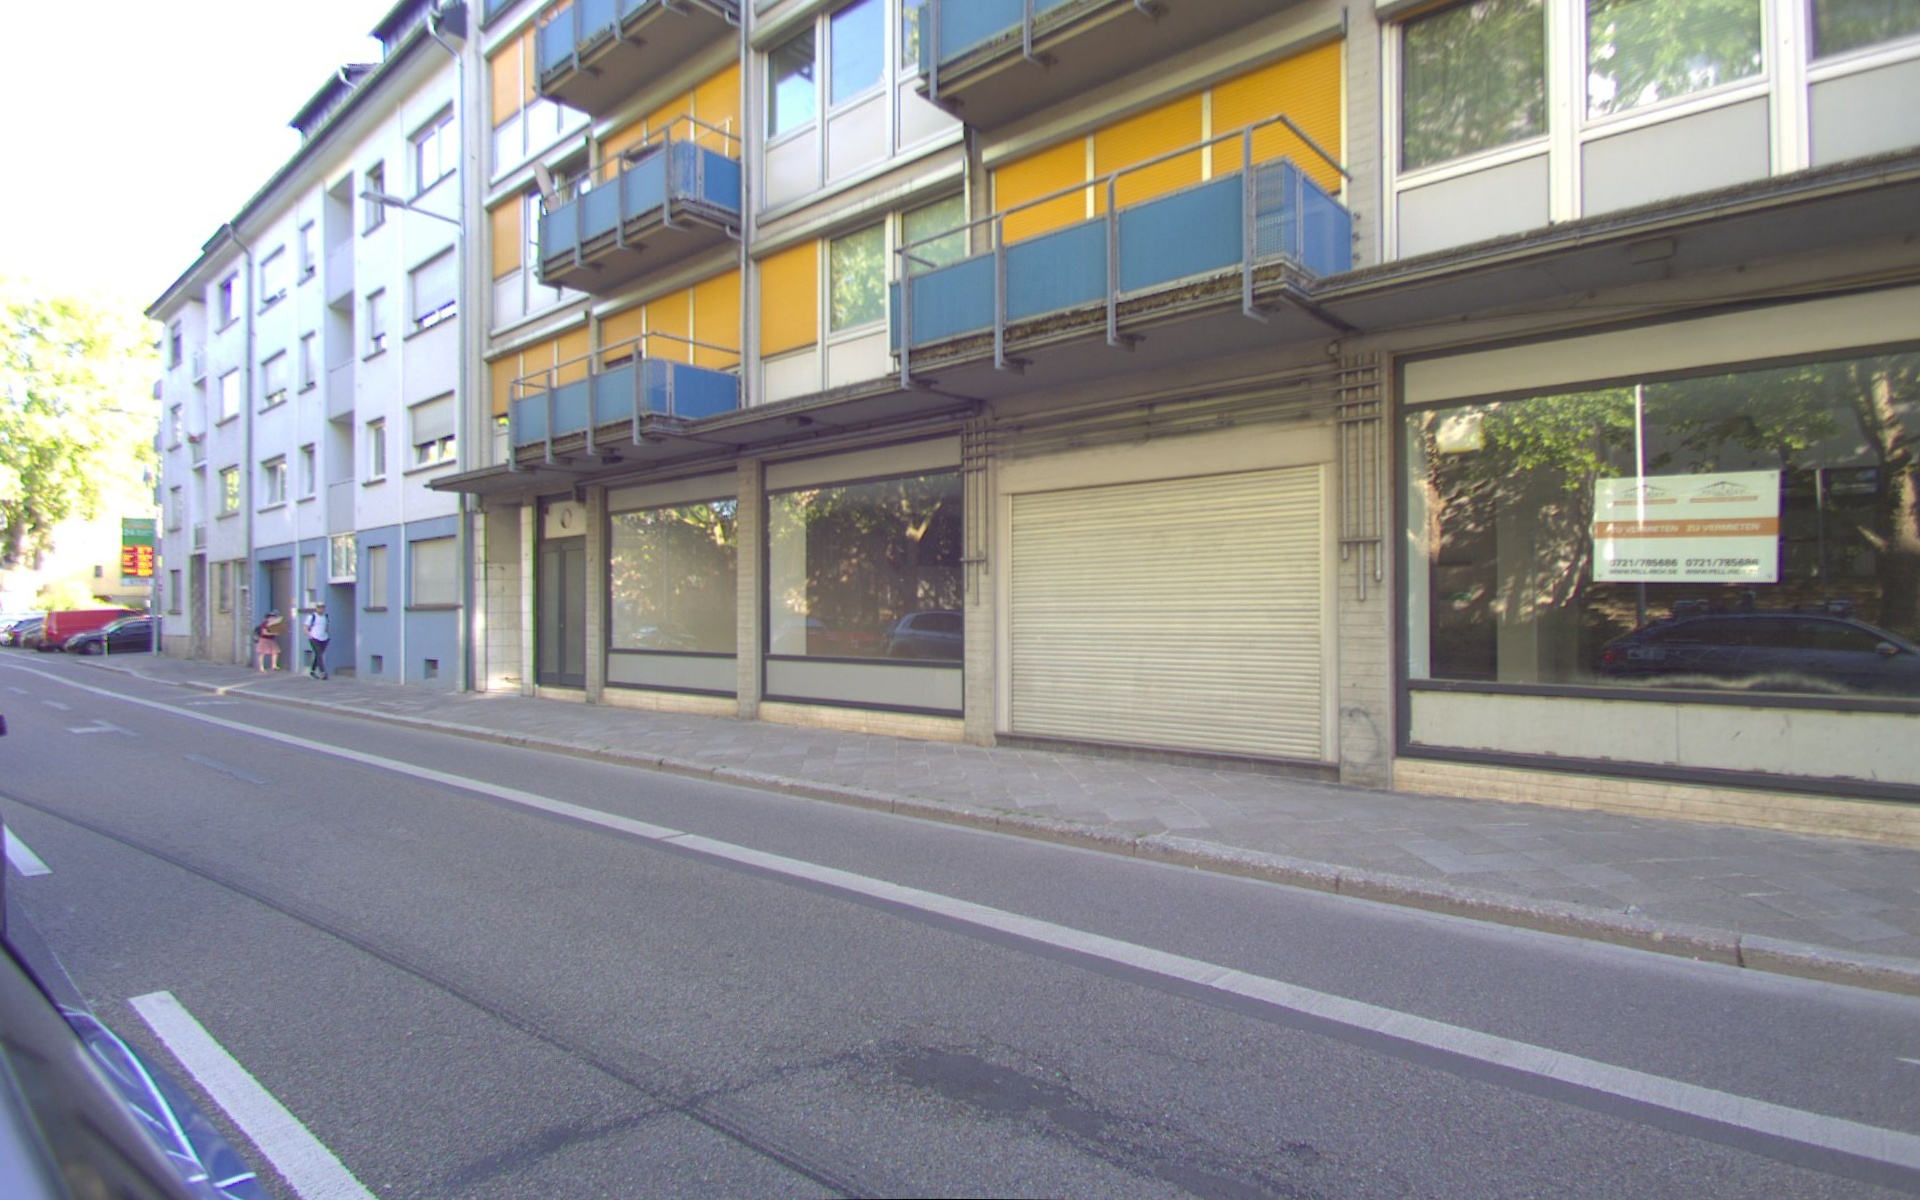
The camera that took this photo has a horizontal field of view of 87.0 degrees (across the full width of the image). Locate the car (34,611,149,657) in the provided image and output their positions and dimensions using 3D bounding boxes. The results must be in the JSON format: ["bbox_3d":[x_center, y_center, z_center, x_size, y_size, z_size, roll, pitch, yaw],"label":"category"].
[{"bbox_3d":[-40.594,1.574,47.374,1.635,1.937,3.878,-1,0,41],"label":"car"}]

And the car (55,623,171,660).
[{"bbox_3d":[-36.663,1.761,43.843,1.635,1.422,3.623,-1,0,41],"label":"car"}]

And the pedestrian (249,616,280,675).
[{"bbox_3d":[-18.529,1.198,26.957,0.340,1.529,0.568,-2,0,11],"label":"pedestrian"}]

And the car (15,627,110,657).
[{"bbox_3d":[-43.010,1.993,48.546,1.294,1.258,3.283,-1,0,41],"label":"car"}]

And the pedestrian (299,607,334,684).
[{"bbox_3d":[-14.870,1.036,23.389,0.343,1.739,0.562,-2,0,41],"label":"pedestrian"}]
